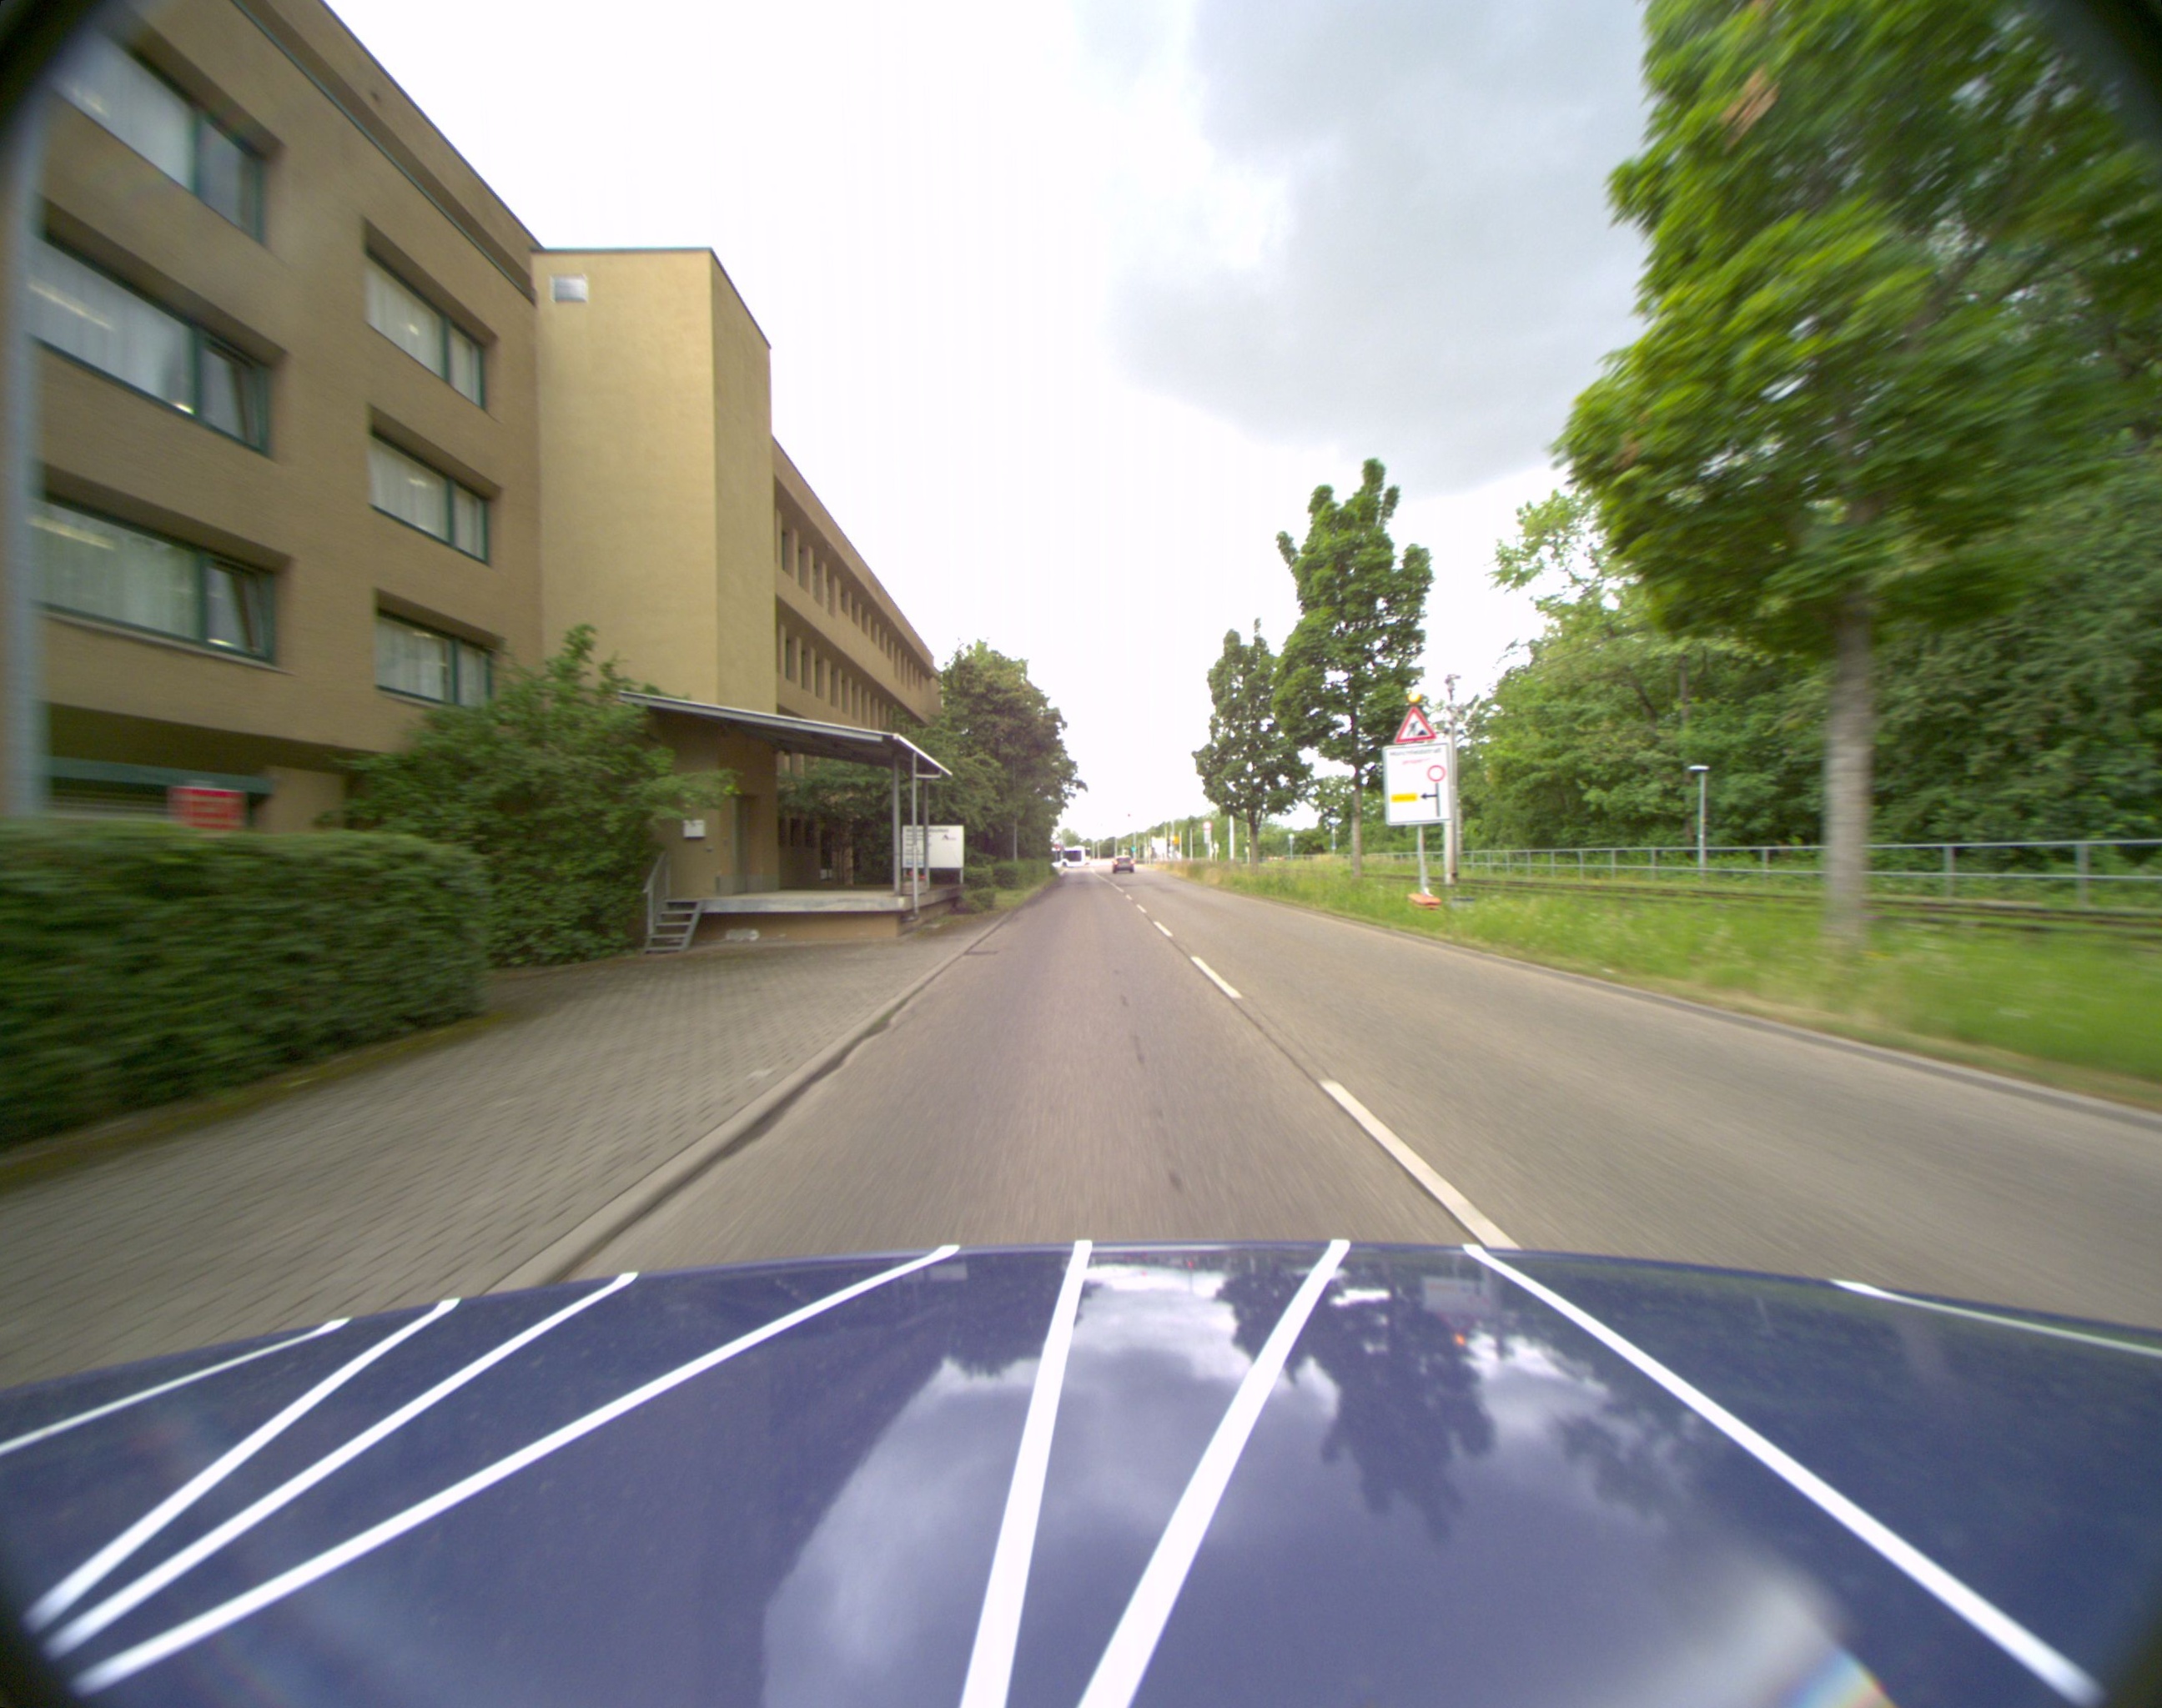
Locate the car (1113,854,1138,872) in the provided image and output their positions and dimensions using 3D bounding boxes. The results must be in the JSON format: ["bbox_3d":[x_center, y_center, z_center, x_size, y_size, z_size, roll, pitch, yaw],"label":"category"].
[{"bbox_3d":[3.906,0.774,66.828,2.038,1.508,3.654,-2,0,1],"label":"car"}]

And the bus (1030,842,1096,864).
[{"bbox_3d":[-2.800,-0.109,117.583,9.854,3.049,3.174,-2,0,27],"label":"bus"}]
